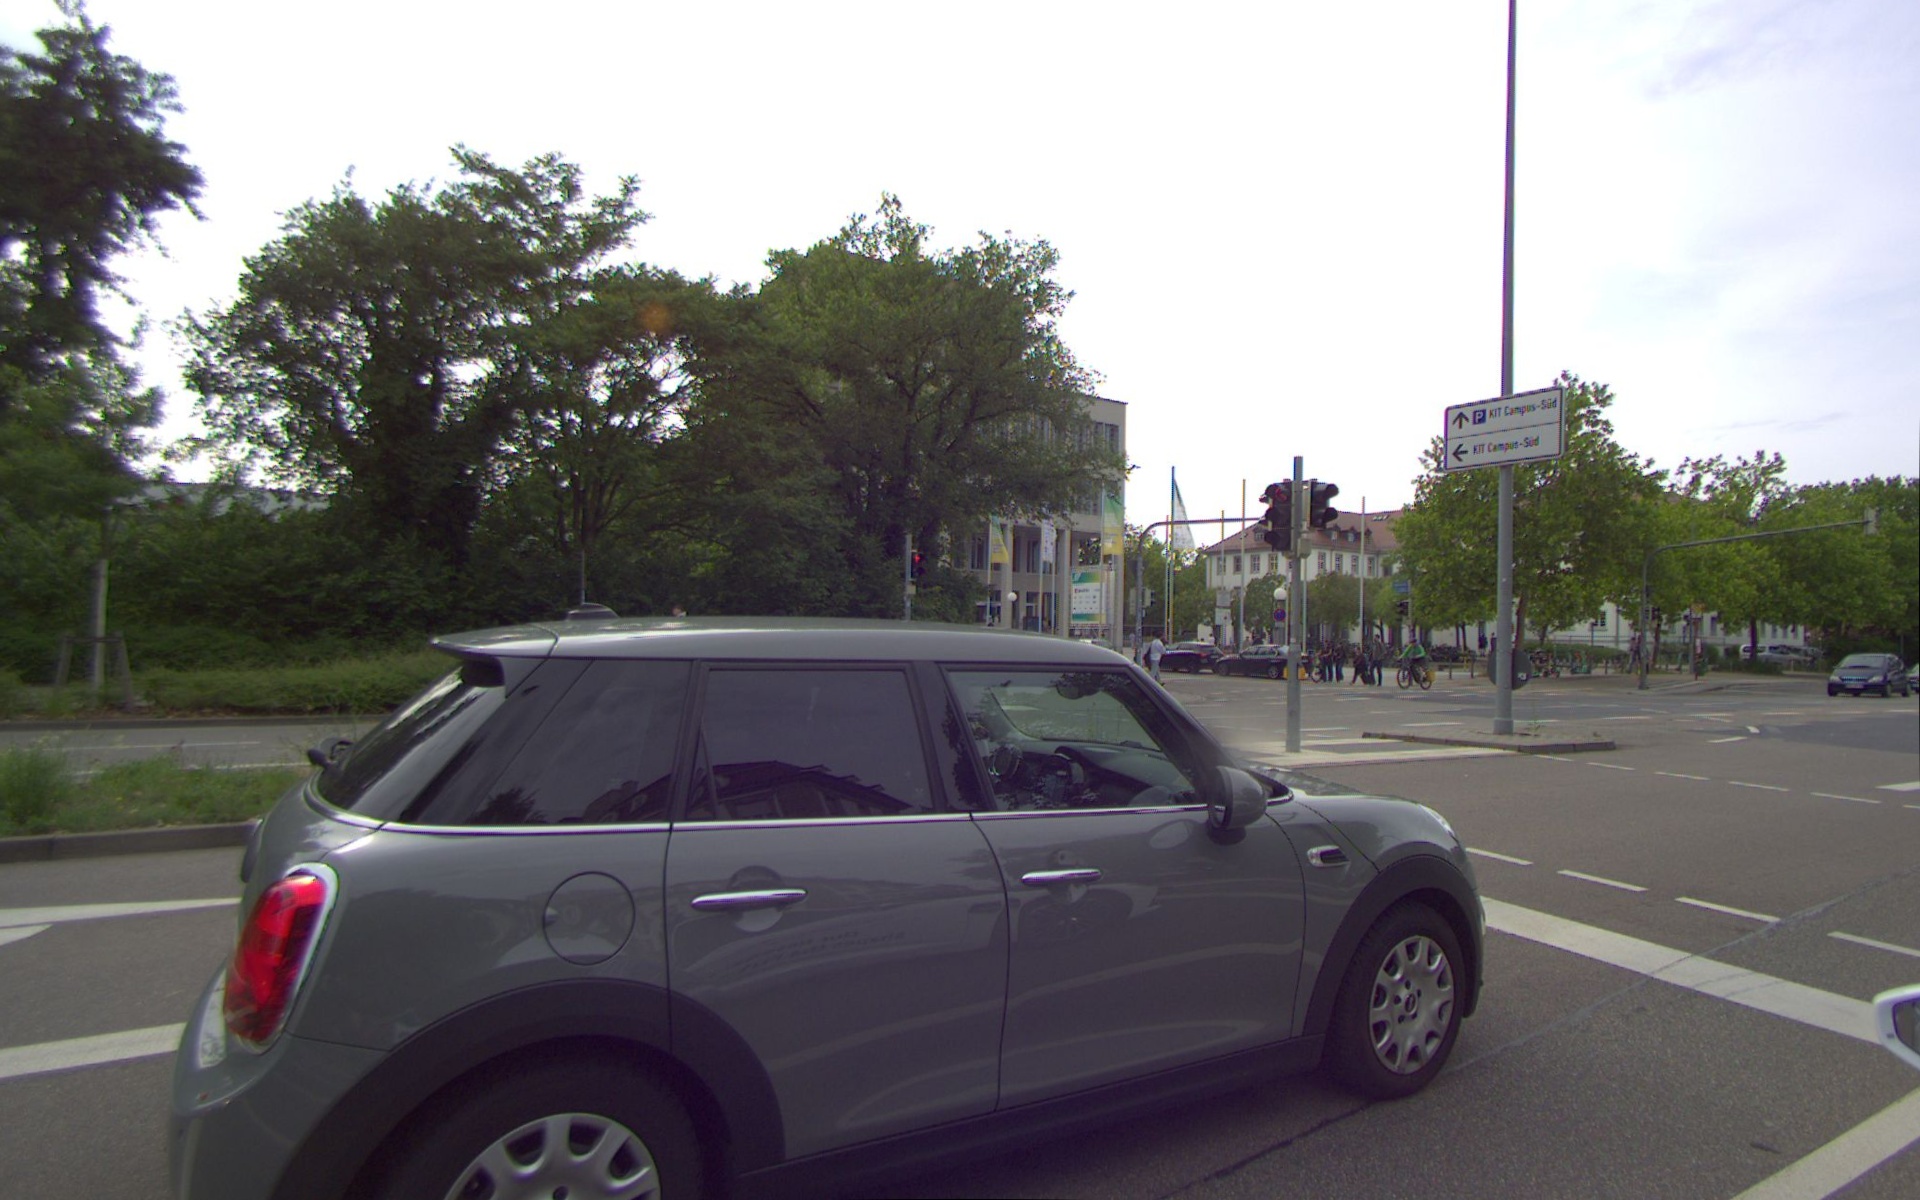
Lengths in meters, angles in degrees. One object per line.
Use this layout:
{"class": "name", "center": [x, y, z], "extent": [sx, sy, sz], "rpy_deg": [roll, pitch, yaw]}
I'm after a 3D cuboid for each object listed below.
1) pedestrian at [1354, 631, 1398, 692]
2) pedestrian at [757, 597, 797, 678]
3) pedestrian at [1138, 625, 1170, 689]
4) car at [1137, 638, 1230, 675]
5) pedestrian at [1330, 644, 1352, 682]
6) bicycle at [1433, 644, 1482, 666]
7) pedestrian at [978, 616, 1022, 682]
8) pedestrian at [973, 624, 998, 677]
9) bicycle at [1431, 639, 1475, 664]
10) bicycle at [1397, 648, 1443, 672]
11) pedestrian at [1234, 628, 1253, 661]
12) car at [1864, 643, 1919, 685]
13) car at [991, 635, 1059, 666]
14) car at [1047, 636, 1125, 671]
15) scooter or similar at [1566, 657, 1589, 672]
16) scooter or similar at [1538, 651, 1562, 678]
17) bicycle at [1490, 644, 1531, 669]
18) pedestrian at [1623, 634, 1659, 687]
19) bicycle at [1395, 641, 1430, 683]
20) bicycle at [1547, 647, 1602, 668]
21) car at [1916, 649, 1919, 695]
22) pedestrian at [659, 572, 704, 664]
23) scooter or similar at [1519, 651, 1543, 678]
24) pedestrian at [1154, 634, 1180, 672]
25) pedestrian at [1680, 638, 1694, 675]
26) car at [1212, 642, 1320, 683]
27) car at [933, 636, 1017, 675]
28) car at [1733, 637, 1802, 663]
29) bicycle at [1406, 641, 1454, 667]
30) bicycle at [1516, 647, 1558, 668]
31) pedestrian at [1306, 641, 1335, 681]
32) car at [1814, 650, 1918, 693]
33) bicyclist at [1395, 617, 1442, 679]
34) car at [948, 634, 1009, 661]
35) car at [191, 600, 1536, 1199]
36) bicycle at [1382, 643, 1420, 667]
{"class": "pedestrian", "center": [14.764, 2.157, 35.645], "extent": [1.165, 2.040, 1.138], "rpy_deg": [2, 0, 37]}
{"class": "pedestrian", "center": [-3.976, 0.815, 21.827], "extent": [0.645, 1.717, 0.586], "rpy_deg": [2, 0, -31]}
{"class": "pedestrian", "center": [6.403, 1.868, 33.159], "extent": [0.844, 2.086, 0.662], "rpy_deg": [1, -2, -34]}
{"class": "car", "center": [10.539, 2.655, 47.620], "extent": [1.982, 1.491, 3.958], "rpy_deg": [2, 0, -37]}
{"class": "pedestrian", "center": [15.210, 2.486, 40.096], "extent": [0.687, 1.447, 0.999], "rpy_deg": [2, 0, 28]}
{"class": "bicycle", "center": [31.523, 3.455, 63.657], "extent": [0.715, 1.347, 2.797], "rpy_deg": [2, -3, -37]}
{"class": "pedestrian", "center": [1.298, 1.562, 32.393], "extent": [1.022, 2.040, 1.099], "rpy_deg": [2, 0, 25]}
{"class": "pedestrian", "center": [0.805, 1.588, 31.305], "extent": [0.598, 1.627, 0.497], "rpy_deg": [2, -4, -42]}
{"class": "bicycle", "center": [31.852, 3.330, 64.950], "extent": [0.916, 1.579, 2.421], "rpy_deg": [3, -3, -43]}
{"class": "bicycle", "center": [27.892, 3.628, 60.925], "extent": [0.715, 1.371, 2.466], "rpy_deg": [2, -3, -37]}
{"class": "pedestrian", "center": [18.250, 2.864, 64.651], "extent": [0.783, 2.040, 1.092], "rpy_deg": [-1, -3, 39]}
{"class": "car", "center": [39.447, 2.626, 41.407], "extent": [3.949, 1.641, 1.986], "rpy_deg": [2, -2, -28]}
{"class": "car", "center": [3.701, 2.871, 57.651], "extent": [1.835, 1.706, 3.962], "rpy_deg": [2, -2, -35]}
{"class": "car", "center": [6.669, 2.803, 53.427], "extent": [1.980, 1.601, 3.961], "rpy_deg": [2, 0, -34]}
{"class": "scooter or similar", "center": [29.843, 3.112, 48.511], "extent": [1.274, 0.703, 0.404], "rpy_deg": [2, 0, -31]}
{"class": "scooter or similar", "center": [25.840, 2.820, 44.000], "extent": [1.306, 1.155, 0.358], "rpy_deg": [2, -2, -34]}
{"class": "bicycle", "center": [37.262, 3.837, 68.006], "extent": [0.715, 1.615, 2.382], "rpy_deg": [2, -2, -37]}
{"class": "pedestrian", "center": [26.977, 2.385, 39.783], "extent": [1.000, 2.040, 0.888], "rpy_deg": [2, -2, -36]}
{"class": "bicycle", "center": [15.653, 2.112, 34.712], "extent": [0.597, 1.351, 2.303], "rpy_deg": [2, 0, 37]}
{"class": "bicycle", "center": [36.836, 3.464, 60.230], "extent": [0.715, 1.190, 2.726], "rpy_deg": [2, -3, -37]}
{"class": "car", "center": [34.580, 2.478, 34.006], "extent": [4.220, 1.549, 1.986], "rpy_deg": [2, -2, -28]}
{"class": "pedestrian", "center": [-6.399, 0.426, 23.054], "extent": [0.811, 2.040, 0.904], "rpy_deg": [2, -2, -26]}
{"class": "scooter or similar", "center": [24.501, 2.767, 43.118], "extent": [1.306, 1.155, 0.358], "rpy_deg": [2, -2, -34]}
{"class": "pedestrian", "center": [11.480, 2.945, 55.792], "extent": [1.007, 2.040, 0.996], "rpy_deg": [2, -2, -34]}
{"class": "pedestrian", "center": [35.701, 2.761, 49.301], "extent": [0.430, 1.762, 0.416], "rpy_deg": [2, 0, -40]}
{"class": "car", "center": [13.280, 2.686, 43.712], "extent": [1.982, 1.491, 4.111], "rpy_deg": [2, 0, -37]}
{"class": "car", "center": [0.591, 2.302, 42.080], "extent": [1.844, 1.469, 3.562], "rpy_deg": [2, -1, -34]}
{"class": "car", "center": [57.802, 3.578, 71.941], "extent": [1.636, 1.623, 3.561], "rpy_deg": [2, 0, -35]}
{"class": "bicycle", "center": [29.646, 3.384, 63.358], "extent": [0.916, 1.579, 2.633], "rpy_deg": [3, -3, -43]}
{"class": "bicycle", "center": [32.767, 3.266, 57.069], "extent": [2.005, 1.168, 0.718], "rpy_deg": [-1, -3, 39]}
{"class": "pedestrian", "center": [14.615, 2.468, 40.674], "extent": [0.812, 1.533, 0.971], "rpy_deg": [2, 0, 37]}
{"class": "car", "center": [33.448, 2.622, 37.072], "extent": [3.654, 1.483, 1.844], "rpy_deg": [2, -2, -30]}
{"class": "bicyclist", "center": [15.746, 1.622, 34.489], "extent": [1.165, 2.040, 1.277], "rpy_deg": [2, 0, 37]}
{"class": "car", "center": [1.094, 2.887, 61.706], "extent": [1.869, 1.573, 3.964], "rpy_deg": [2, -3, -33]}
{"class": "car", "center": [-0.008, 0.747, 3.198], "extent": [3.662, 1.335, 1.613], "rpy_deg": [2, -2, -30]}
{"class": "bicycle", "center": [30.677, 3.798, 69.948], "extent": [0.907, 1.579, 2.658], "rpy_deg": [1, -2, -16]}
